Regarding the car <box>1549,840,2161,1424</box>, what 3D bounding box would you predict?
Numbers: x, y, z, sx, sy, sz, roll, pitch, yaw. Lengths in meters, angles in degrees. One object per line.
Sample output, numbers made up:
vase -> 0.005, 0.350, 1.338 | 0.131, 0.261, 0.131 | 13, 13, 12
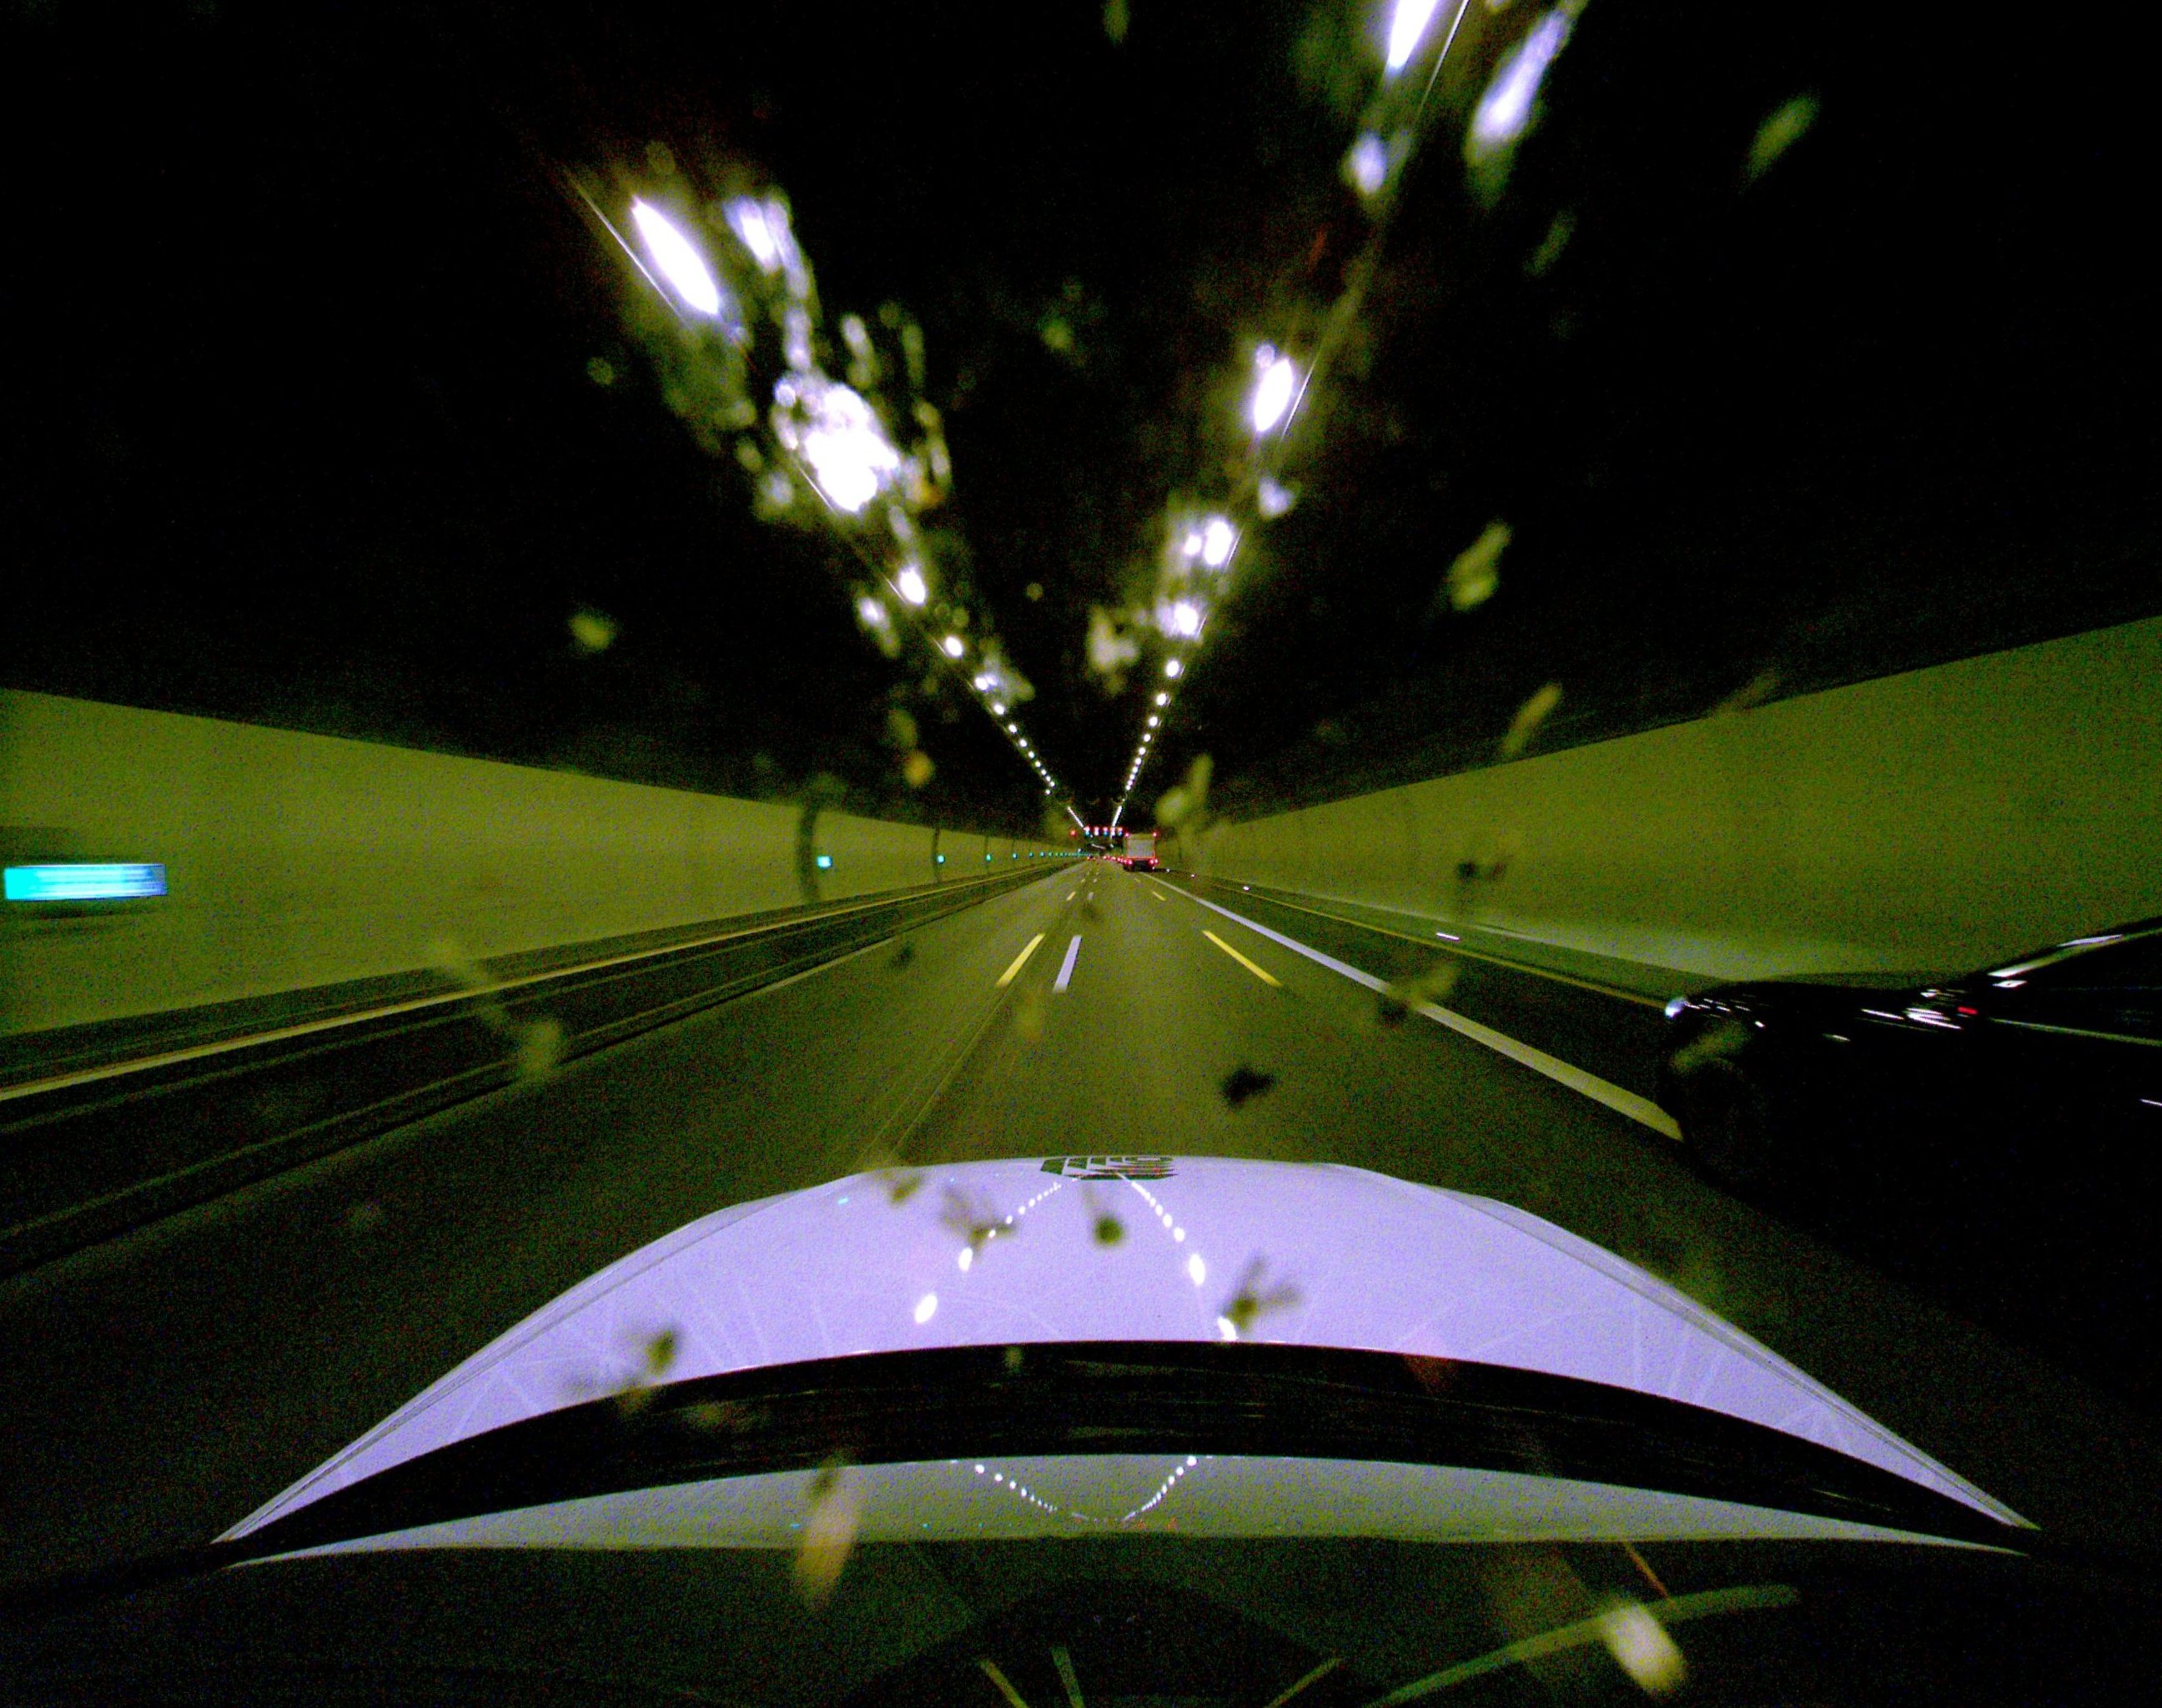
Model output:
car -> 3.707, 0.715, 2.447 | 1.918, 1.472, 4.956 | 1, 0, 2

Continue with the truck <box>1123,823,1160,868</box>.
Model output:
truck -> 5.585, -0.639, 77.106 | 3.080, 3.918, 10.372 | 1, -1, 2

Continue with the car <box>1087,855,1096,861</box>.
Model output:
car -> 2.393, 0.911, 186.580 | 1.752, 1.461, 4.121 | 1, 0, 2

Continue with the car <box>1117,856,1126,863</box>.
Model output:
car -> 8.251, 1.110, 166.287 | 1.732, 1.461, 3.964 | 1, 0, 3

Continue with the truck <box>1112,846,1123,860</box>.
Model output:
truck -> 10.791, -0.283, 239.303 | 3.053, 3.918, 10.376 | 1, -1, 3
